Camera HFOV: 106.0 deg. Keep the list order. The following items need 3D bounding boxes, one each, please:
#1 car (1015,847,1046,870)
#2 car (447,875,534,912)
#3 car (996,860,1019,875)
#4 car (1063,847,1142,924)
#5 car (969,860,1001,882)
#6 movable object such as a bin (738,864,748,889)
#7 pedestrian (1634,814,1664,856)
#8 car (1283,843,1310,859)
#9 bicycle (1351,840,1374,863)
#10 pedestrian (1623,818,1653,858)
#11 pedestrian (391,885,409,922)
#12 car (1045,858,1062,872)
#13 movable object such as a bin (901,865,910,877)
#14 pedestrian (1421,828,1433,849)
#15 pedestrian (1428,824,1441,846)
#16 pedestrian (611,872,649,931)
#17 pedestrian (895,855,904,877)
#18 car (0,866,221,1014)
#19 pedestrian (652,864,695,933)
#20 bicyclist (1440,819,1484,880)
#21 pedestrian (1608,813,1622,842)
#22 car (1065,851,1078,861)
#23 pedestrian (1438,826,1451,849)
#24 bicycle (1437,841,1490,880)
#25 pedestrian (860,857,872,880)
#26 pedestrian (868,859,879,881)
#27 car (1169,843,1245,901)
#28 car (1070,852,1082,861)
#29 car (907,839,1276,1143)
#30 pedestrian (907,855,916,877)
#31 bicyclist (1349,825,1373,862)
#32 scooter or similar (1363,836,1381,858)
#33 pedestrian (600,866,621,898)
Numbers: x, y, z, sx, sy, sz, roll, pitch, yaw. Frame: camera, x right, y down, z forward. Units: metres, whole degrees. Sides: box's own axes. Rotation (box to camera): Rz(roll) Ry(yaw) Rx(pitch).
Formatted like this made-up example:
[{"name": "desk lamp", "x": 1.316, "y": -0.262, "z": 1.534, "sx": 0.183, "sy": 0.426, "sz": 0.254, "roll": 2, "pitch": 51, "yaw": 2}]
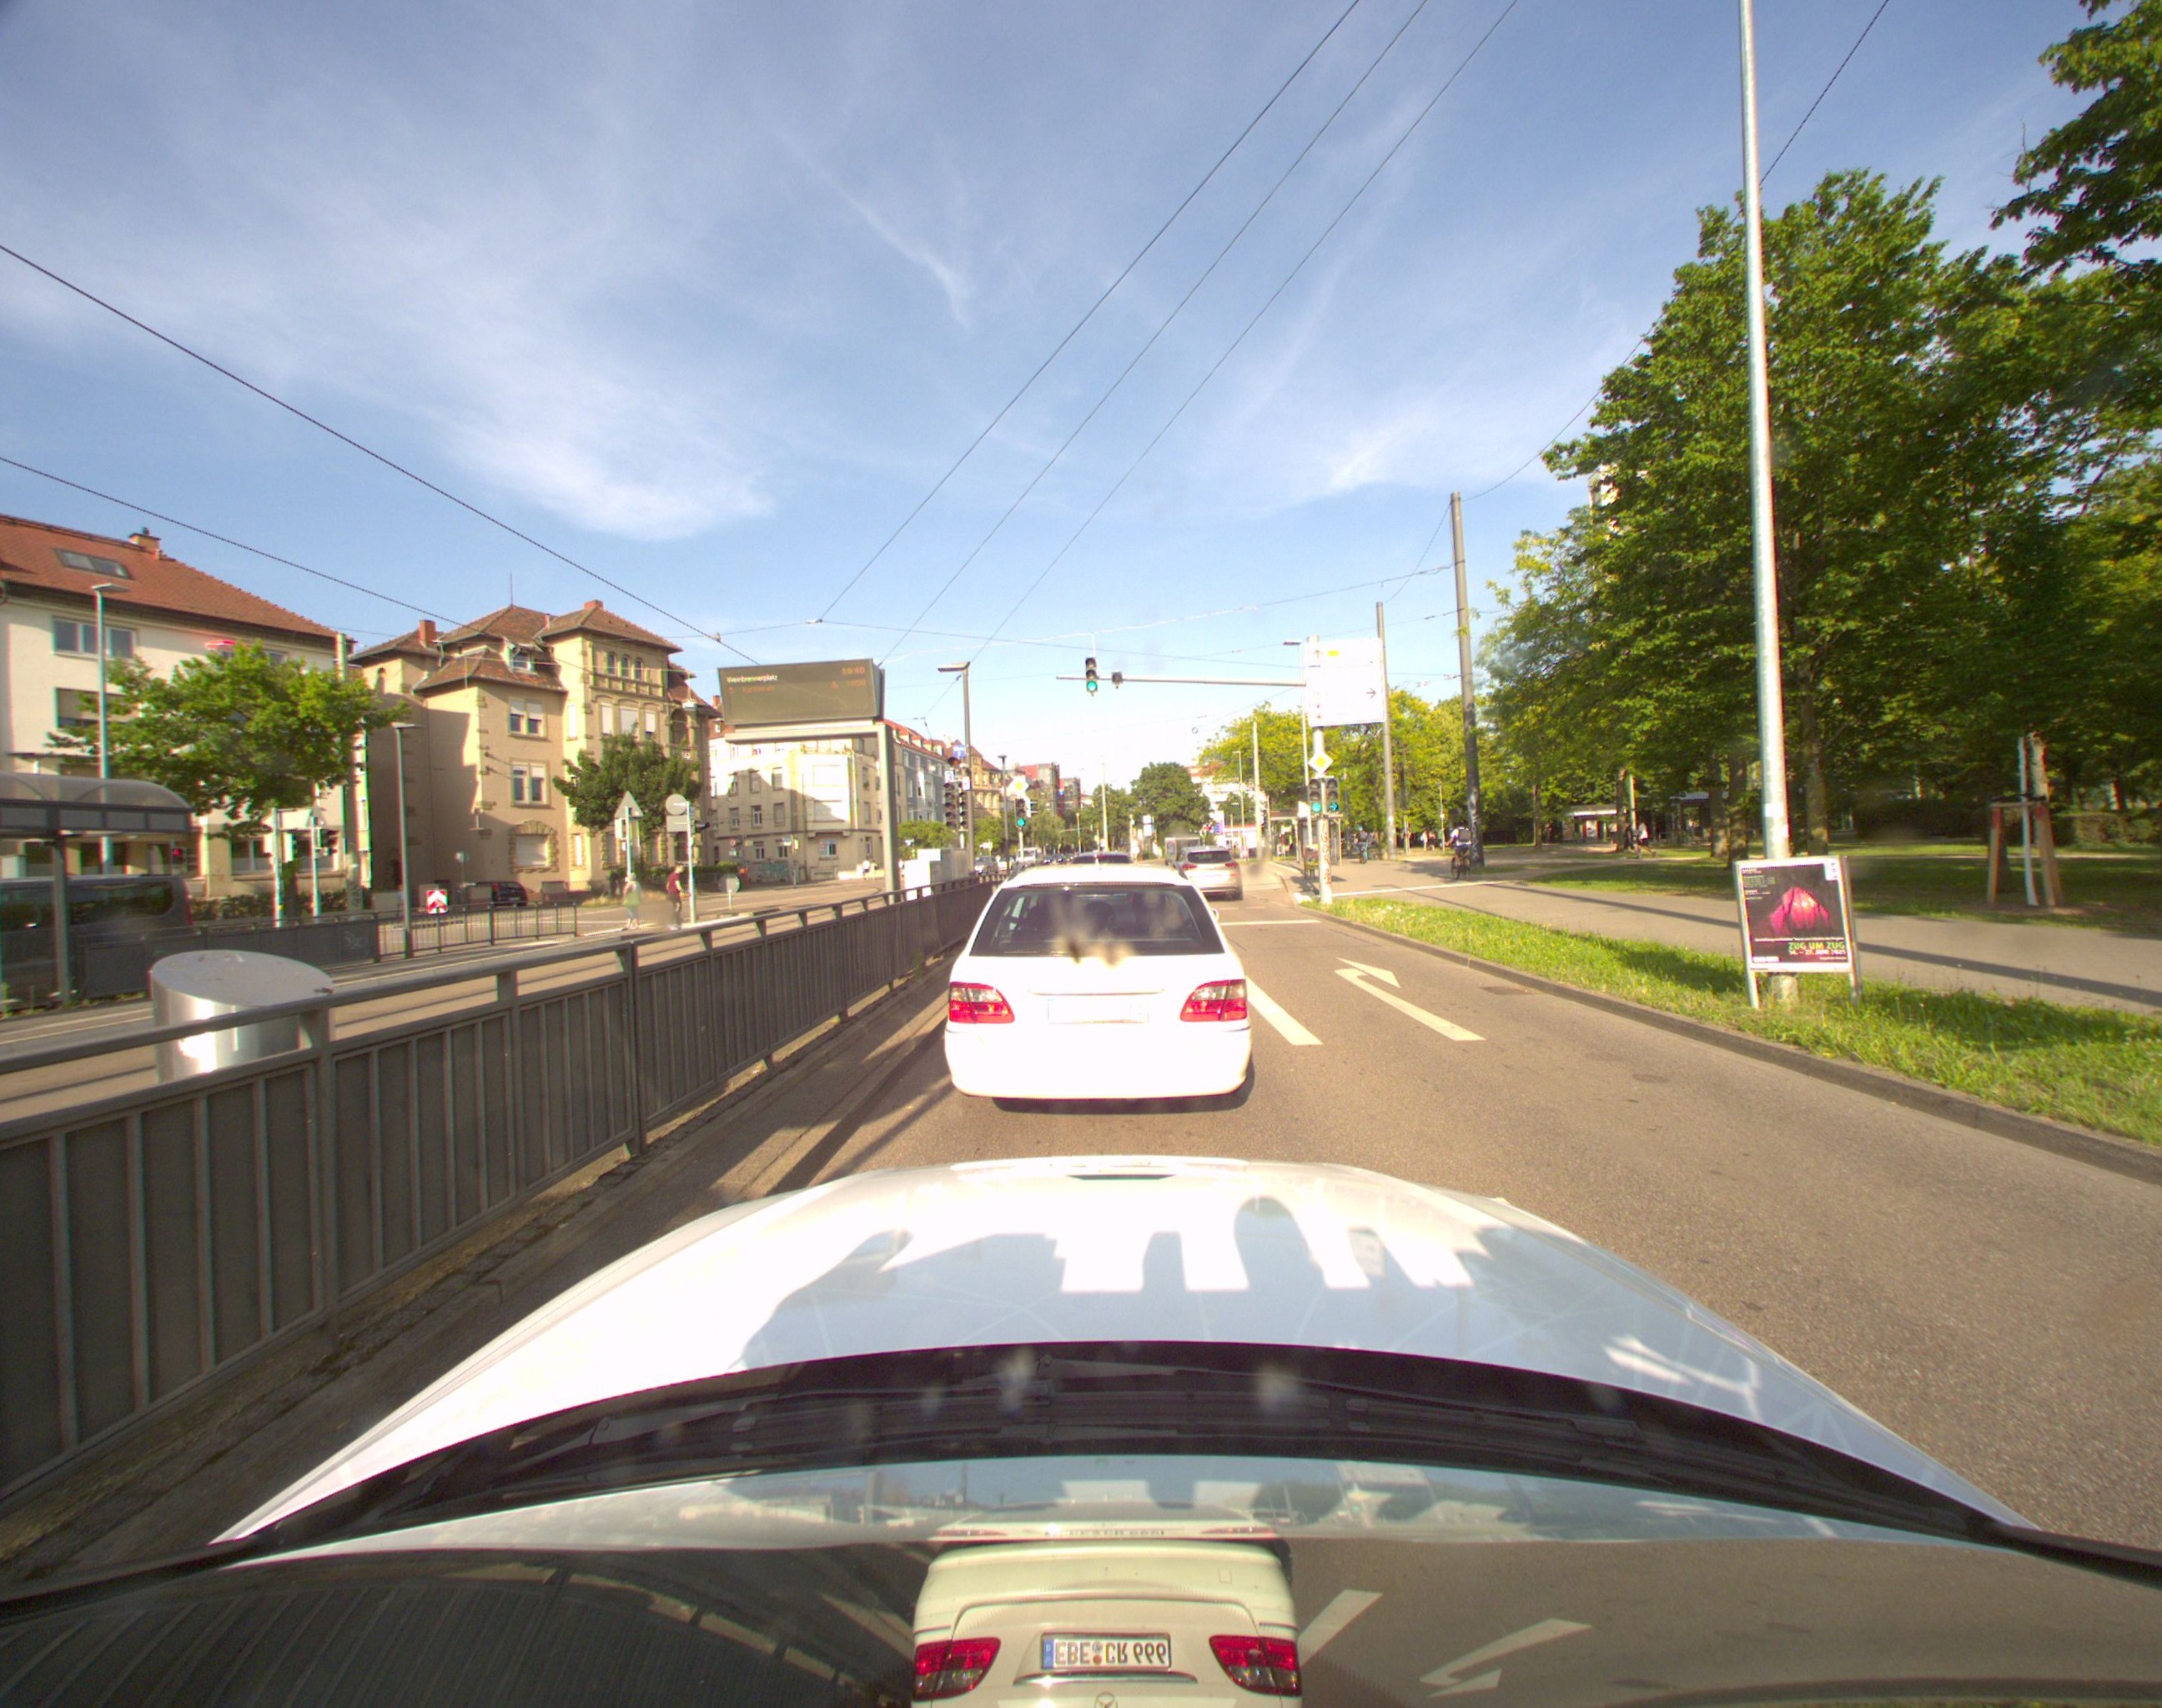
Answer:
[{"name": "car", "x": -5.124, "y": 0.421, "z": 84.079, "sx": 2.165, "sy": 2.239, "sz": 5.263, "roll": -3, "pitch": 0, "yaw": 7}, {"name": "car", "x": -29.410, "y": 1.954, "z": 40.586, "sx": 3.950, "sy": 1.632, "sz": 1.787, "roll": -3, "pitch": 0, "yaw": 26}, {"name": "car", "x": -7.815, "y": 1.425, "z": 86.682, "sx": 1.786, "sy": 1.457, "sz": 4.004, "roll": -3, "pitch": 0, "yaw": 3}, {"name": "car", "x": 0.518, "y": 0.663, "z": 19.095, "sx": 1.635, "sy": 1.600, "sz": 3.817, "roll": -1, "pitch": 0, "yaw": 2}, {"name": "car", "x": -7.835, "y": 1.365, "z": 66.718, "sx": 1.668, "sy": 1.526, "sz": 4.131, "roll": -3, "pitch": 1, "yaw": 6}, {"name": "movable object such as a bin", "x": -23.546, "y": 1.556, "z": 56.738, "sx": 0.265, "sy": 1.709, "sz": 2.360, "roll": -3, "pitch": 0, "yaw": -29}, {"name": "pedestrian", "x": 26.003, "y": -0.850, "z": 37.268, "sx": 0.672, "sy": 1.897, "sz": 0.875, "roll": 0, "pitch": 0, "yaw": -15}, {"name": "car", "x": 24.862, "y": -0.360, "z": 93.968, "sx": 1.835, "sy": 1.515, "sz": 4.026, "roll": -4, "pitch": -1, "yaw": 32}, {"name": "bicycle", "x": 13.923, "y": -0.119, "z": 40.337, "sx": 0.637, "sy": 1.088, "sz": 1.736, "roll": -5, "pitch": 0, "yaw": 6}, {"name": "pedestrian", "x": 25.274, "y": -0.731, "z": 36.965, "sx": 0.673, "sy": 1.777, "sz": 0.875, "roll": -1, "pitch": 0, "yaw": -18}, {"name": "pedestrian", "x": -28.506, "y": 2.088, "z": 34.094, "sx": 0.400, "sy": 1.515, "sz": 0.392, "roll": -3, "pitch": 0, "yaw": 28}, {"name": "car", "x": -3.461, "y": 1.335, "z": 102.940, "sx": 1.760, "sy": 1.494, "sz": 4.746, "roll": -3, "pitch": 1, "yaw": 1}, {"name": "movable object such as a bin", "x": -15.677, "y": 1.516, "z": 72.791, "sx": 0.581, "sy": 0.947, "sz": 0.663, "roll": -3, "pitch": 0, "yaw": 2}, {"name": "pedestrian", "x": 27.212, "y": -1.242, "z": 64.089, "sx": 0.638, "sy": 1.610, "sz": 0.691, "roll": -3, "pitch": 0, "yaw": 1}, {"name": "pedestrian", "x": 27.456, "y": -1.443, "z": 63.236, "sx": 0.638, "sy": 1.665, "sz": 0.691, "roll": -3, "pitch": 0, "yaw": 1}, {"name": "pedestrian", "x": -12.499, "y": 1.304, "z": 22.601, "sx": 0.588, "sy": 1.589, "sz": 0.715, "roll": -3, "pitch": 0, "yaw": -2}, {"name": "pedestrian", "x": -16.055, "y": 1.031, "z": 71.932, "sx": 0.582, "sy": 1.881, "sz": 0.627, "roll": -3, "pitch": 0, "yaw": 1}, {"name": "car", "x": -16.108, "y": 1.273, "z": 11.442, "sx": 2.137, "sy": 2.013, "sz": 5.389, "roll": -3, "pitch": 0, "yaw": 2}, {"name": "pedestrian", "x": -10.343, "y": 1.109, "z": 20.694, "sx": 0.885, "sy": 1.670, "sz": 0.666, "roll": -3, "pitch": 0, "yaw": -26}, {"name": "bicyclist", "x": 11.522, "y": -0.144, "z": 24.649, "sx": 0.647, "sy": 1.745, "sz": 1.140, "roll": -6, "pitch": -1, "yaw": 1}, {"name": "pedestrian", "x": 34.706, "y": -1.693, "z": 52.918, "sx": 0.463, "sy": 1.868, "sz": 0.600, "roll": 0, "pitch": -1, "yaw": -30}, {"name": "car", "x": -1.581, "y": 0.285, "z": 132.572, "sx": 1.626, "sy": 1.433, "sz": 3.634, "roll": -3, "pitch": 0, "yaw": 6}, {"name": "pedestrian", "x": 27.680, "y": -1.261, "z": 62.055, "sx": 0.638, "sy": 1.665, "sz": 0.691, "roll": -3, "pitch": 0, "yaw": 1}, {"name": "bicycle", "x": 11.551, "y": 0.194, "z": 24.671, "sx": 0.638, "sy": 1.088, "sz": 1.940, "roll": -5, "pitch": 0, "yaw": 1}, {"name": "pedestrian", "x": -18.150, "y": 1.206, "z": 68.652, "sx": 0.653, "sy": 1.881, "sz": 0.629, "roll": -3, "pitch": 0, "yaw": 16}, {"name": "pedestrian", "x": -17.444, "y": 1.332, "z": 68.626, "sx": 0.672, "sy": 1.848, "sz": 0.649, "roll": -3, "pitch": 0, "yaw": -1}, {"name": "car", "x": 3.745, "y": 0.498, "z": 24.807, "sx": 1.828, "sy": 1.600, "sz": 3.817, "roll": -1, "pitch": 0, "yaw": 2}, {"name": "car", "x": -0.807, "y": 0.445, "z": 144.784, "sx": 1.681, "sy": 1.441, "sz": 4.007, "roll": -3, "pitch": 0, "yaw": 6}, {"name": "car", "x": 0.113, "y": 0.687, "z": 6.008, "sx": 1.828, "sy": 1.501, "sz": 3.817, "roll": -1, "pitch": 0, "yaw": 2}, {"name": "pedestrian", "x": -14.992, "y": 1.044, "z": 72.139, "sx": 0.582, "sy": 1.881, "sz": 0.626, "roll": -3, "pitch": 0, "yaw": -1}, {"name": "bicyclist", "x": 13.869, "y": -0.510, "z": 40.324, "sx": 0.716, "sy": 1.745, "sz": 1.142, "roll": -6, "pitch": -1, "yaw": 5}, {"name": "scooter or similar", "x": 16.125, "y": -0.383, "z": 45.206, "sx": 0.351, "sy": 1.232, "sz": 1.131, "roll": -3, "pitch": 0, "yaw": -12}, {"name": "pedestrian", "x": -24.511, "y": 1.450, "z": 42.436, "sx": 0.672, "sy": 1.651, "sz": 0.608, "roll": -3, "pitch": 0, "yaw": 28}]
